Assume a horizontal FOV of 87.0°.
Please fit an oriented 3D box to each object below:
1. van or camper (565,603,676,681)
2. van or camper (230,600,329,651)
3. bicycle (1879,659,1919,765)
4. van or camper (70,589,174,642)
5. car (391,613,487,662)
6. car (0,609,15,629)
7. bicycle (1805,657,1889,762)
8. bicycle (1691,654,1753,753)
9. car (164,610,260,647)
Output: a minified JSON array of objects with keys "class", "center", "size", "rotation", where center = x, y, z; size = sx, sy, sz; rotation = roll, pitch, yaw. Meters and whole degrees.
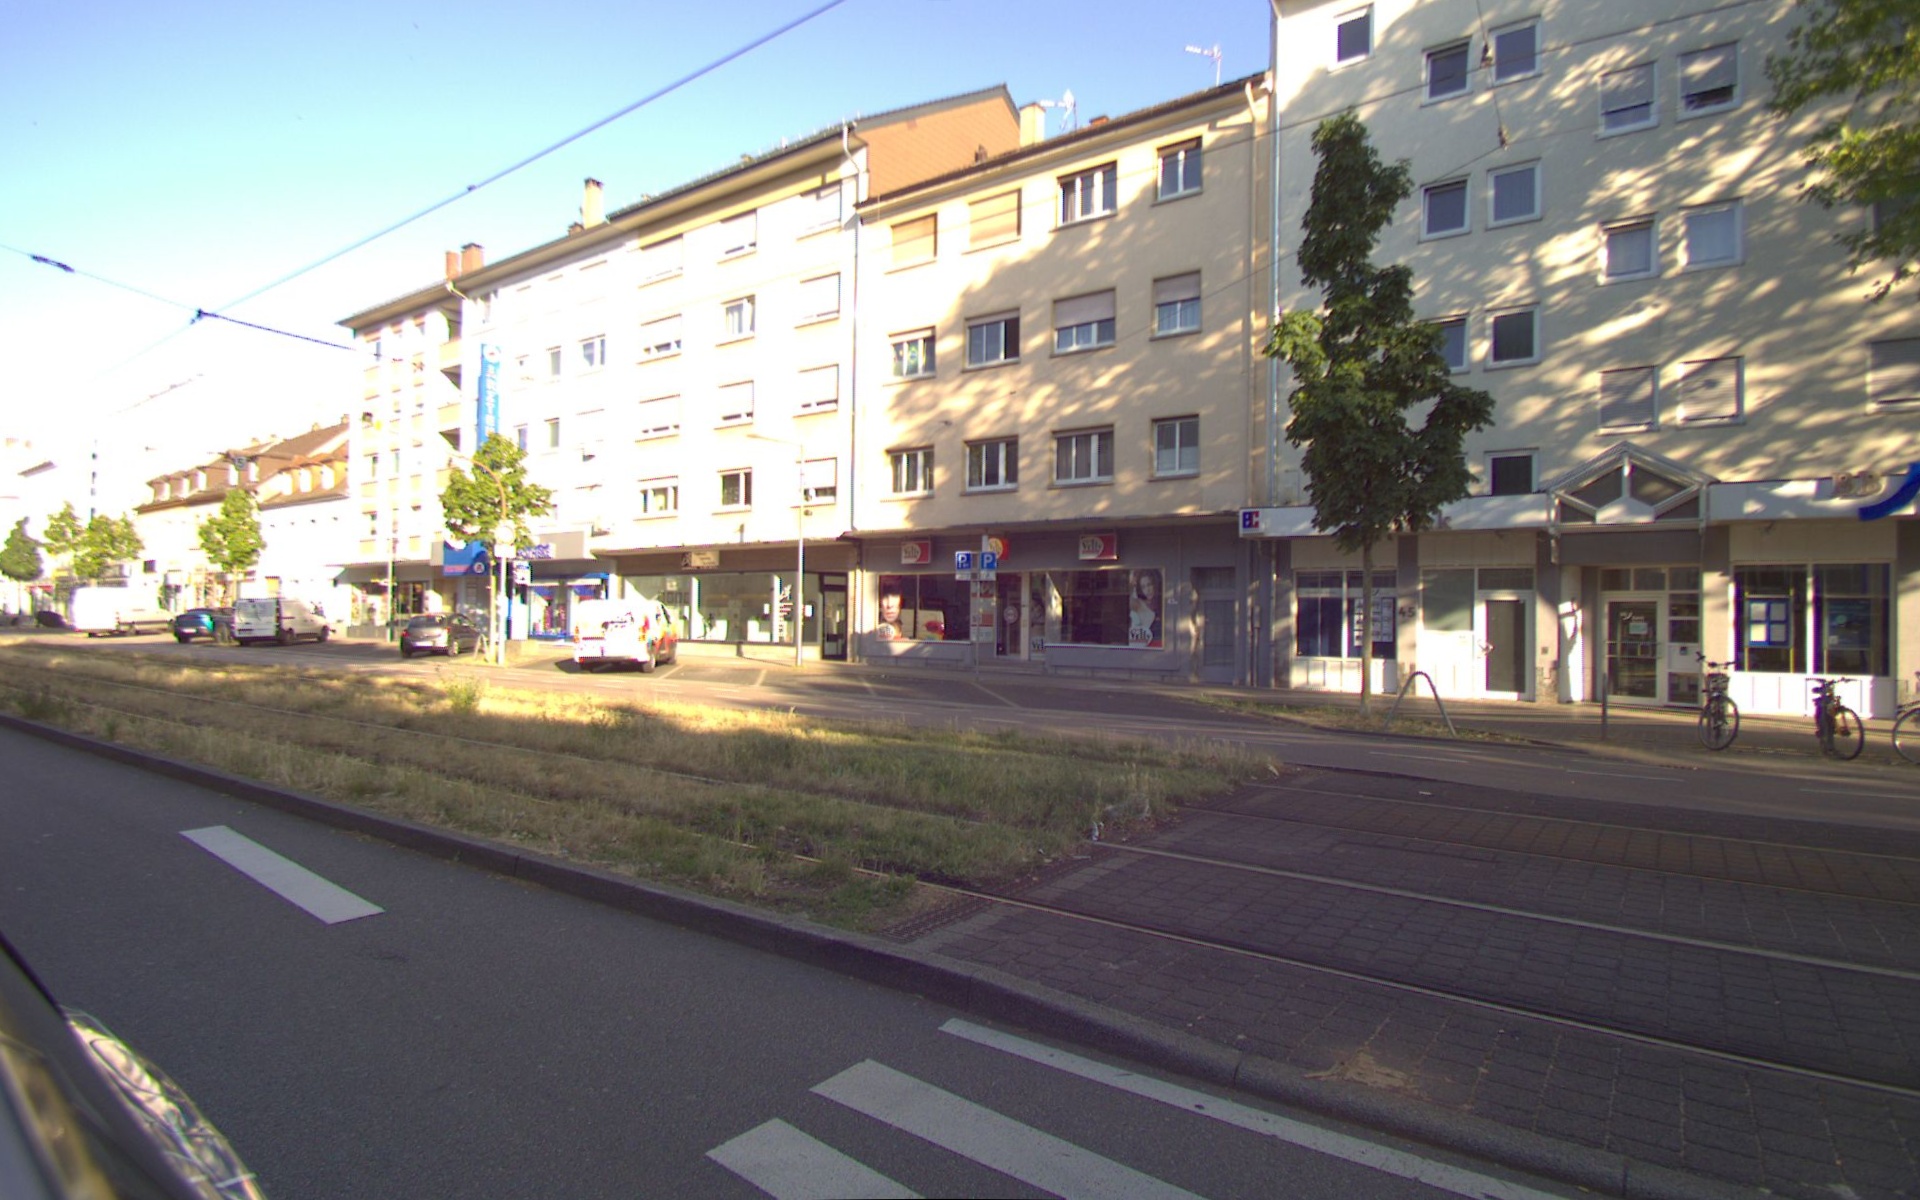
[{"class":"van or camper","center":[-9.171,1.057,27.771],"size":[1.921,1.912,4.822],"rotation":[-1,0,-6]},{"class":"van or camper","center":[-28.836,1.020,43.053],"size":[1.771,2.004,4.460],"rotation":[-1,0,-8]},{"class":"bicycle","center":[11.749,1.333,12.235],"size":[0.650,1.133,1.878],"rotation":[0,-1,34]},{"class":"van or camper","center":[-45.645,0.780,55.326],"size":[1.966,2.687,6.417],"rotation":[-1,0,-16]},{"class":"car","center":[-17.892,1.239,34.990],"size":[1.741,1.501,4.461],"rotation":[-1,0,-11]},{"class":"car","center":[-73.642,1.436,75.793],"size":[1.752,1.501,3.899],"rotation":[-1,0,13]},{"class":"bicycle","center":[11.097,1.330,12.701],"size":[0.533,1.133,1.878],"rotation":[0,-1,34]},{"class":"bicycle","center":[10.073,1.329,13.421],"size":[0.533,1.133,1.878],"rotation":[0,-1,34]},{"class":"car","center":[-34.567,1.284,46.881],"size":[1.850,1.598,4.007],"rotation":[-1,0,-7]}]
